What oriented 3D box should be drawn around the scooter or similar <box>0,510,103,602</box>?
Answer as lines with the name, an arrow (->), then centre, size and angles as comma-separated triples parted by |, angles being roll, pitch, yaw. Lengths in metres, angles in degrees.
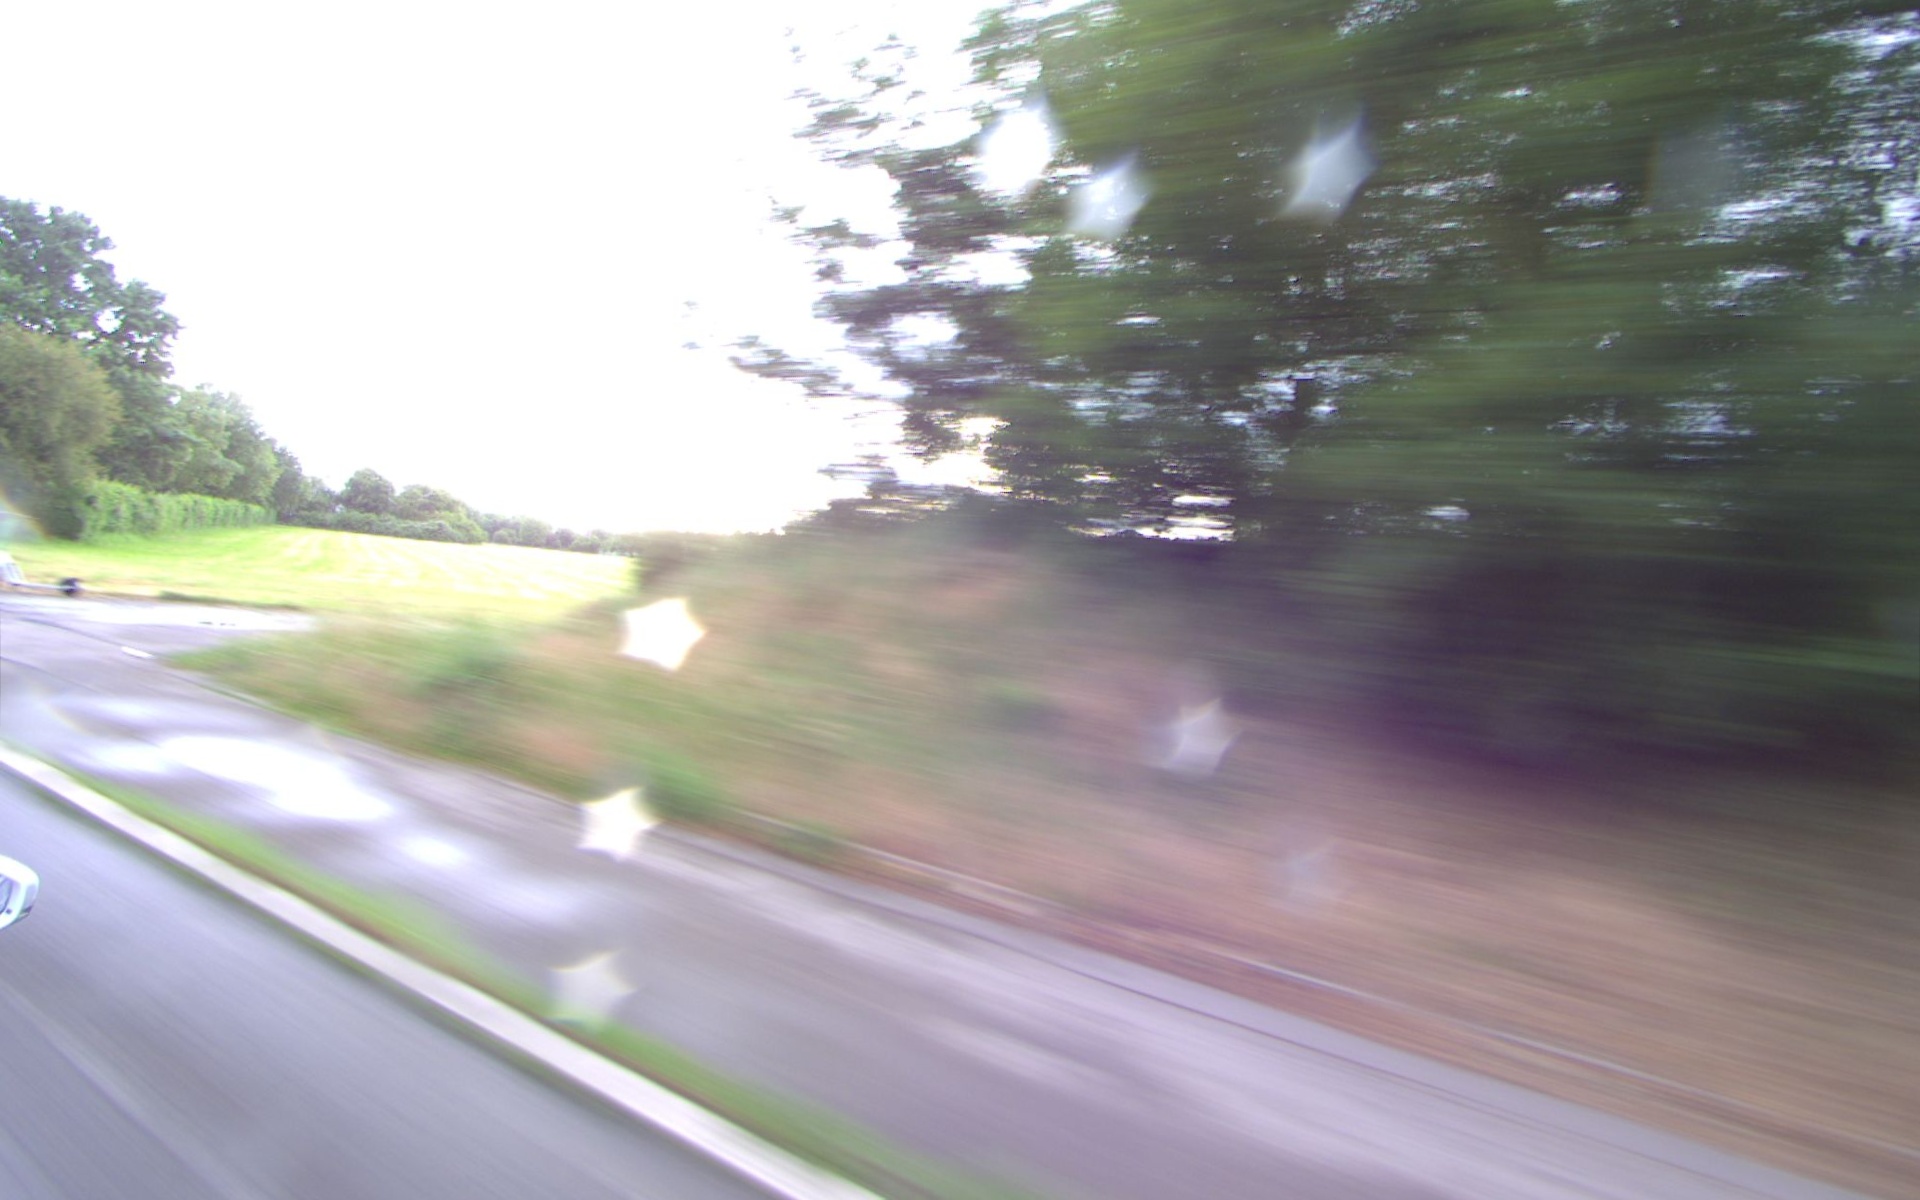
scooter or similar -> -13.715, -0.660, 14.991 | 1.308, 1.221, 0.372 | 6, 1, -18
